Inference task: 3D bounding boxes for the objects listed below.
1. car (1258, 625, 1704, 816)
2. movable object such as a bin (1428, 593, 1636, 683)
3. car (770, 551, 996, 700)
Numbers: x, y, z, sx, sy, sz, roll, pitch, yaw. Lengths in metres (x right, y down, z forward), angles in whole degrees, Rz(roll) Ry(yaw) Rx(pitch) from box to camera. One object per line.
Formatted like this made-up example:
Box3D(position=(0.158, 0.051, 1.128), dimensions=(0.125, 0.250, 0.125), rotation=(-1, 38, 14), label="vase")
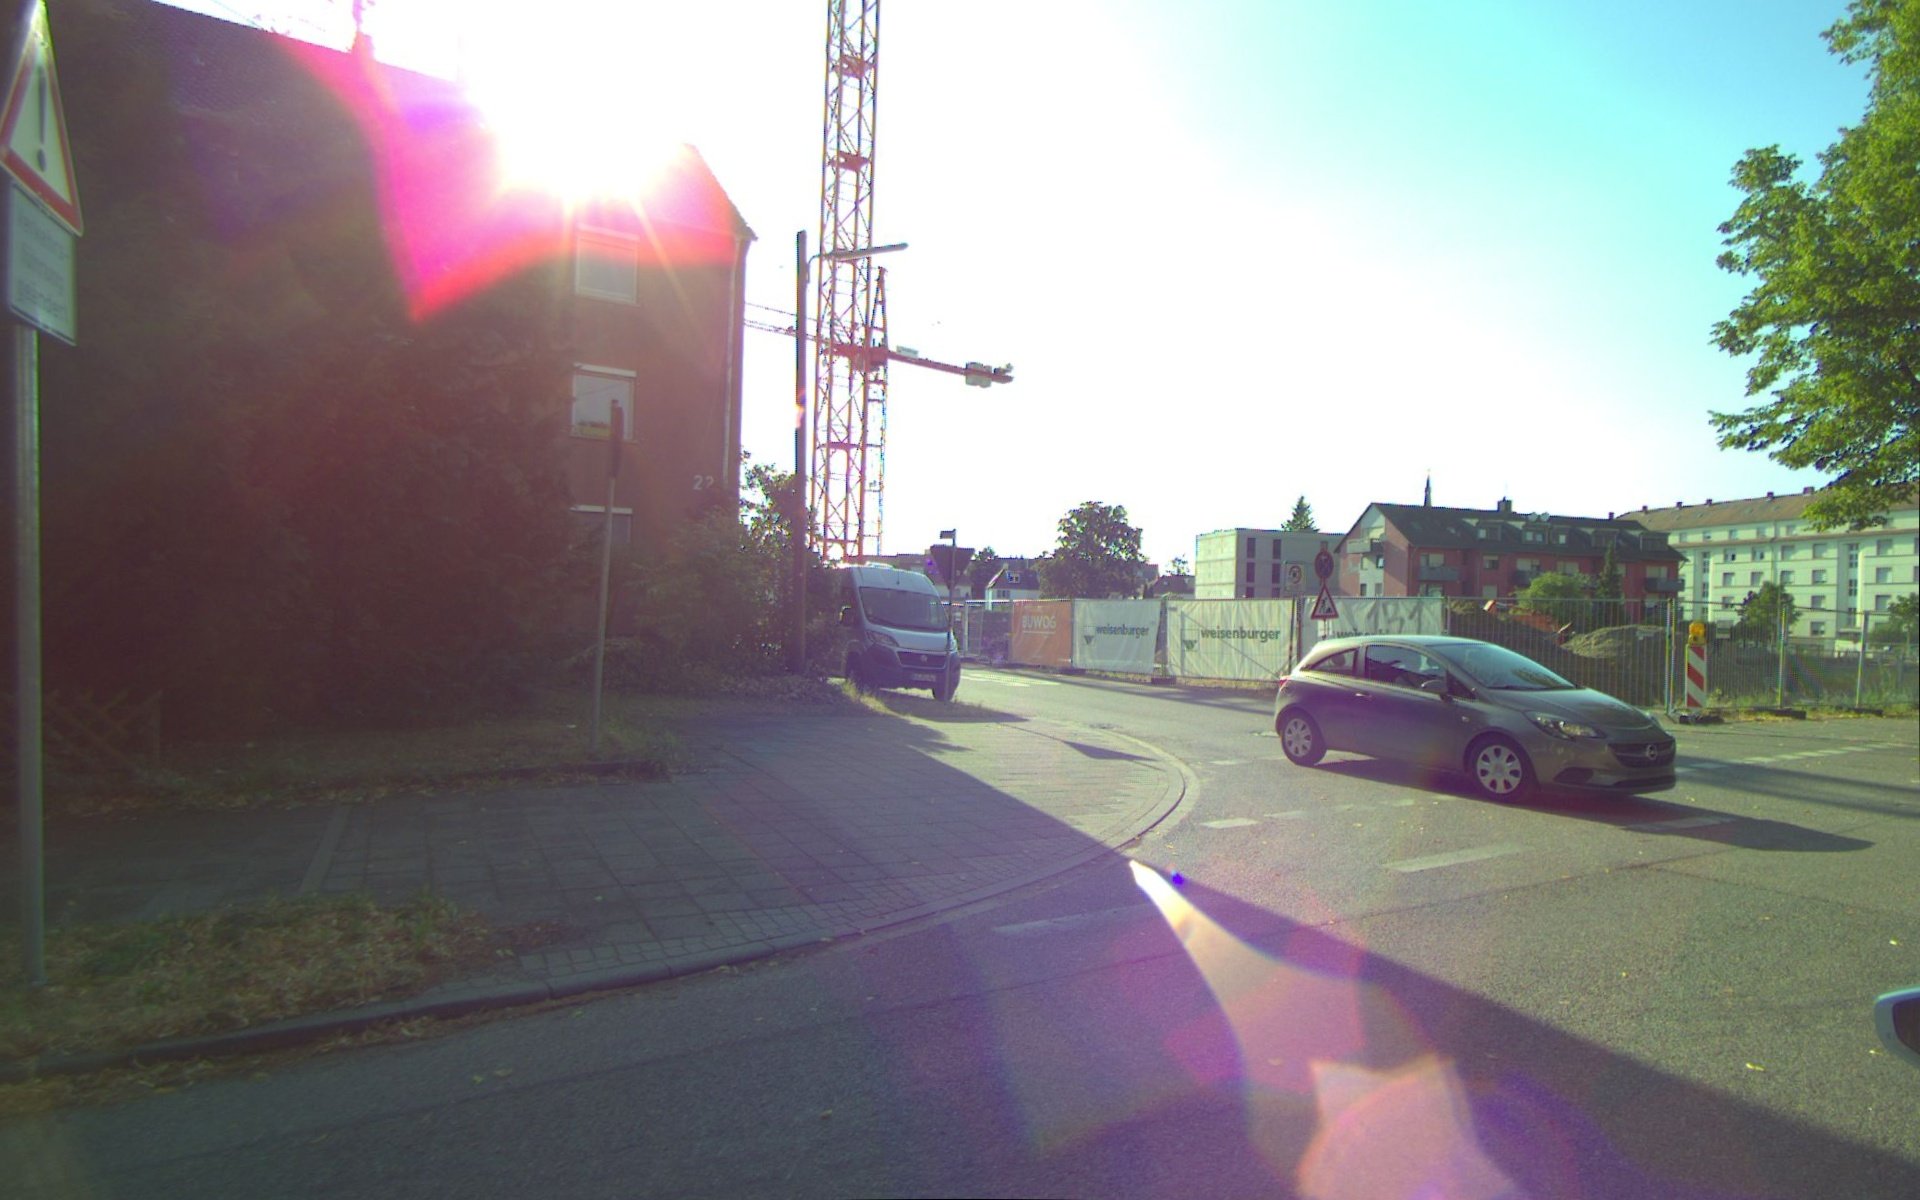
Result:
Box3D(position=(5.045, 1.052, 10.295), dimensions=(1.630, 1.493, 3.830), rotation=(2, -1, -27), label="car")
Box3D(position=(34.273, 2.335, 60.340), dimensions=(11.347, 5.058, 3.017), rotation=(1, -3, -8), label="movable object such as a bin")
Box3D(position=(-1.722, 0.503, 20.132), dimensions=(2.147, 2.499, 5.277), rotation=(6, -3, -32), label="car")
